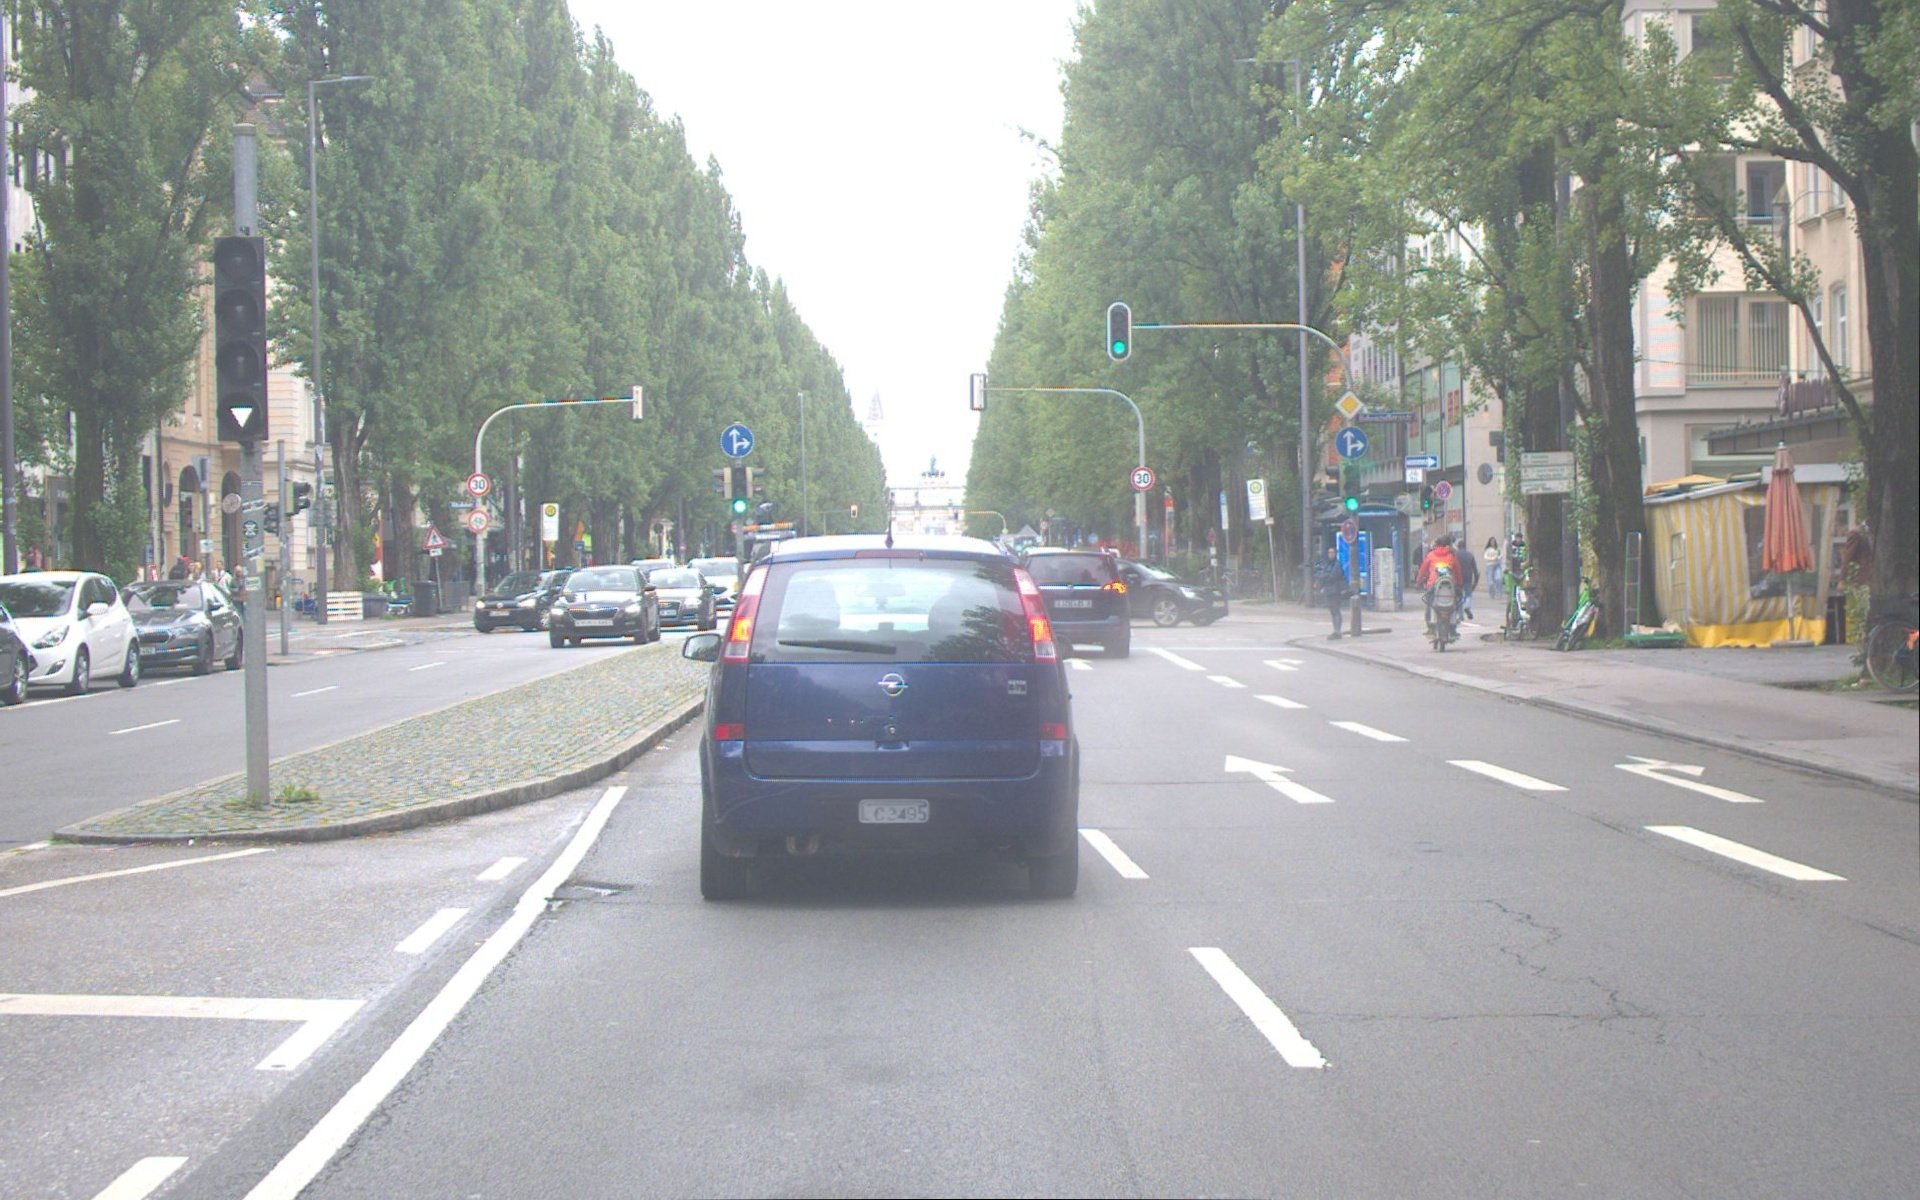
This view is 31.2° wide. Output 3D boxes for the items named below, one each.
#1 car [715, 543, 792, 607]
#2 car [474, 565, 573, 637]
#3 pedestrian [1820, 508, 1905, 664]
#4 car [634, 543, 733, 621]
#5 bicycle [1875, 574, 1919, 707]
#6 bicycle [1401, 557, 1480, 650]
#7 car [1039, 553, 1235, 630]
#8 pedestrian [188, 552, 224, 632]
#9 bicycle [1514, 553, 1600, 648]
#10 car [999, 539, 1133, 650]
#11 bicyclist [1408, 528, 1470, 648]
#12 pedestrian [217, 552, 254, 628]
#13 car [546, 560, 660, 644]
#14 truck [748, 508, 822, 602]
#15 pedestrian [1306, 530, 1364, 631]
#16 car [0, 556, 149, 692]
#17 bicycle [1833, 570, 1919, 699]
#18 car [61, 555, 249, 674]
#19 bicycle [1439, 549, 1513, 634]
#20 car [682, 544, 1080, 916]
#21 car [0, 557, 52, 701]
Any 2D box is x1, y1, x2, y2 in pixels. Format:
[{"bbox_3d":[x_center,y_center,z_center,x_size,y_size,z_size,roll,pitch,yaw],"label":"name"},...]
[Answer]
[{"bbox_3d":[-5.578,-0.690,93.312,1.866,1.660,4.120,-1,1,0],"label":"car"},{"bbox_3d":[-10.570,0.006,83.454,1.866,1.660,4.120,-1,1,0],"label":"car"},{"bbox_3d":[10.701,-0.169,40.758,0.636,1.820,0.888,1,0,-10],"label":"pedestrian"},{"bbox_3d":[-6.153,-0.417,76.871,1.866,1.660,4.120,-1,1,0],"label":"car"},{"bbox_3d":[9.654,0.347,31.734,2.227,1.200,0.626,-1,1,-2],"label":"bicycle"},{"bbox_3d":[7.155,0.037,51.294,0.772,1.344,2.449,-1,1,-1],"label":"bicycle"},{"bbox_3d":[3.842,-0.195,74.359,3.989,1.616,1.902,0,1,11],"label":"car"},{"bbox_3d":[-16.851,-0.185,76.823,0.767,1.760,0.885,-1,1,-12],"label":"pedestrian"},{"bbox_3d":[8.714,-0.014,50.258,0.772,1.344,2.449,-1,1,-1],"label":"bicycle"},{"bbox_3d":[1.569,-0.109,52.183,1.896,1.616,4.000,0,1,0],"label":"car"},{"bbox_3d":[7.149,-0.180,51.322,0.767,1.760,0.885,-1,1,-1],"label":"bicyclist"},{"bbox_3d":[-16.861,-0.239,79.984,0.767,1.760,0.885,-1,1,-16],"label":"pedestrian"},{"bbox_3d":[-6.520,0.010,63.034,1.735,1.460,3.365,-1,1,0],"label":"car"},{"bbox_3d":[-6.379,-1.657,126.085,2.383,3.335,7.111,-1,1,0],"label":"truck"},{"bbox_3d":[6.651,-0.354,60.972,0.882,1.760,0.770,-1,1,-3],"label":"pedestrian"},{"bbox_3d":[-12.118,0.296,45.257,1.866,1.660,4.120,-2,1,0],"label":"car"},{"bbox_3d":[9.617,0.309,33.112,2.227,1.200,0.626,-1,1,-2],"label":"bicycle"},{"bbox_3d":[-12.215,0.184,52.399,1.866,1.660,4.120,-2,1,0],"label":"car"},{"bbox_3d":[8.353,-0.154,55.731,0.772,1.344,2.449,-1,1,-1],"label":"bicycle"},{"bbox_3d":[-0.338,0.516,16.445,1.671,1.563,4.000,0,1,0],"label":"car"},{"bbox_3d":[-12.040,0.374,39.929,1.866,1.660,4.120,-2,1,0],"label":"car"}]
